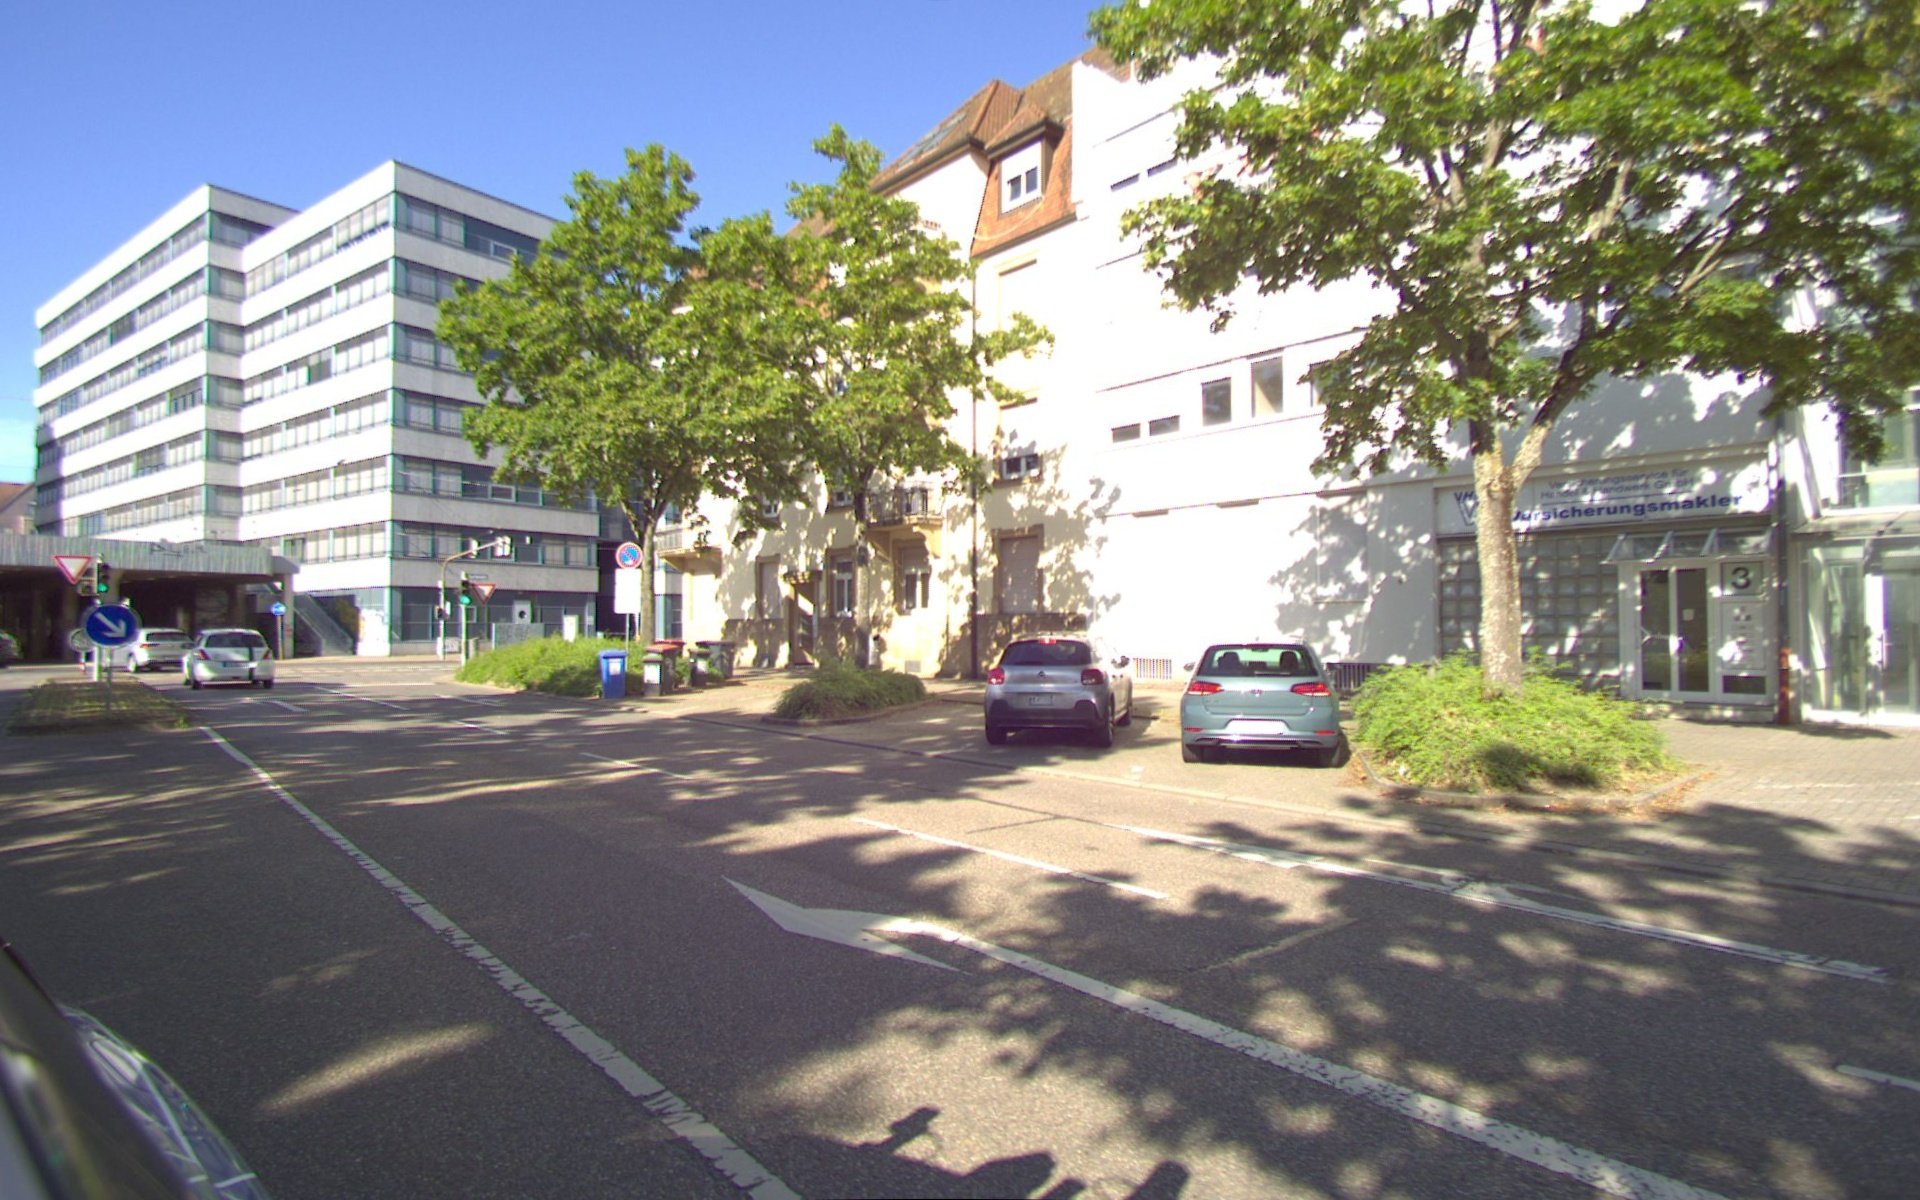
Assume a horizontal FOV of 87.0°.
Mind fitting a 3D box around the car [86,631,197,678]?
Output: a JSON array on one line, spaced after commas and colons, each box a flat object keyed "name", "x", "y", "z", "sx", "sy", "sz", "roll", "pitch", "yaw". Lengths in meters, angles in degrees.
[{"name": "car", "x": -27.720, "y": 1.798, "z": 34.260, "sx": 3.836, "sy": 1.463, "sz": 1.695, "roll": 0, "pitch": -2, "yaw": 31}]

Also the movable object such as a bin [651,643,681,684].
[{"name": "movable object such as a bin", "x": -6.855, "y": 1.463, "z": 23.570, "sx": 0.507, "sy": 0.920, "sz": 0.640, "roll": 0, "pitch": -2, "yaw": -32}]

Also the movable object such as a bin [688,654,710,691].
[{"name": "movable object such as a bin", "x": -6.377, "y": 1.771, "z": 24.726, "sx": 0.398, "sy": 0.860, "sz": 0.440, "roll": 0, "pitch": -2, "yaw": -32}]

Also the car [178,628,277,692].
[{"name": "car", "x": -18.999, "y": 1.540, "z": 26.190, "sx": 1.684, "sy": 1.524, "sz": 3.868, "roll": 4, "pitch": -4, "yaw": -41}]

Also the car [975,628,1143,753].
[{"name": "car", "x": 1.564, "y": 1.171, "z": 14.639, "sx": 1.811, "sy": 1.521, "sz": 3.866, "roll": 0, "pitch": -1, "yaw": 15}]

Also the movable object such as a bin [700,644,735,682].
[{"name": "movable object such as a bin", "x": -6.674, "y": 1.719, "z": 27.875, "sx": 0.772, "sy": 1.008, "sz": 0.640, "roll": 0, "pitch": -2, "yaw": -32}]

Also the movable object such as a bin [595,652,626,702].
[{"name": "movable object such as a bin", "x": -7.671, "y": 1.677, "z": 22.224, "sx": 0.507, "sy": 1.055, "sz": 0.640, "roll": 0, "pitch": -2, "yaw": -32}]

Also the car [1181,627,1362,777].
[{"name": "car", "x": 3.782, "y": 1.106, "z": 12.539, "sx": 1.812, "sy": 1.521, "sz": 3.866, "roll": 0, "pitch": -1, "yaw": 16}]

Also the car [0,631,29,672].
[{"name": "car", "x": -37.514, "y": 1.930, "z": 37.487, "sx": 4.045, "sy": 1.525, "sz": 1.799, "roll": 0, "pitch": -2, "yaw": -18}]

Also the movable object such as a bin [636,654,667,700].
[{"name": "movable object such as a bin", "x": -6.902, "y": 1.712, "z": 22.666, "sx": 0.507, "sy": 0.983, "sz": 0.640, "roll": 0, "pitch": -2, "yaw": -32}]
